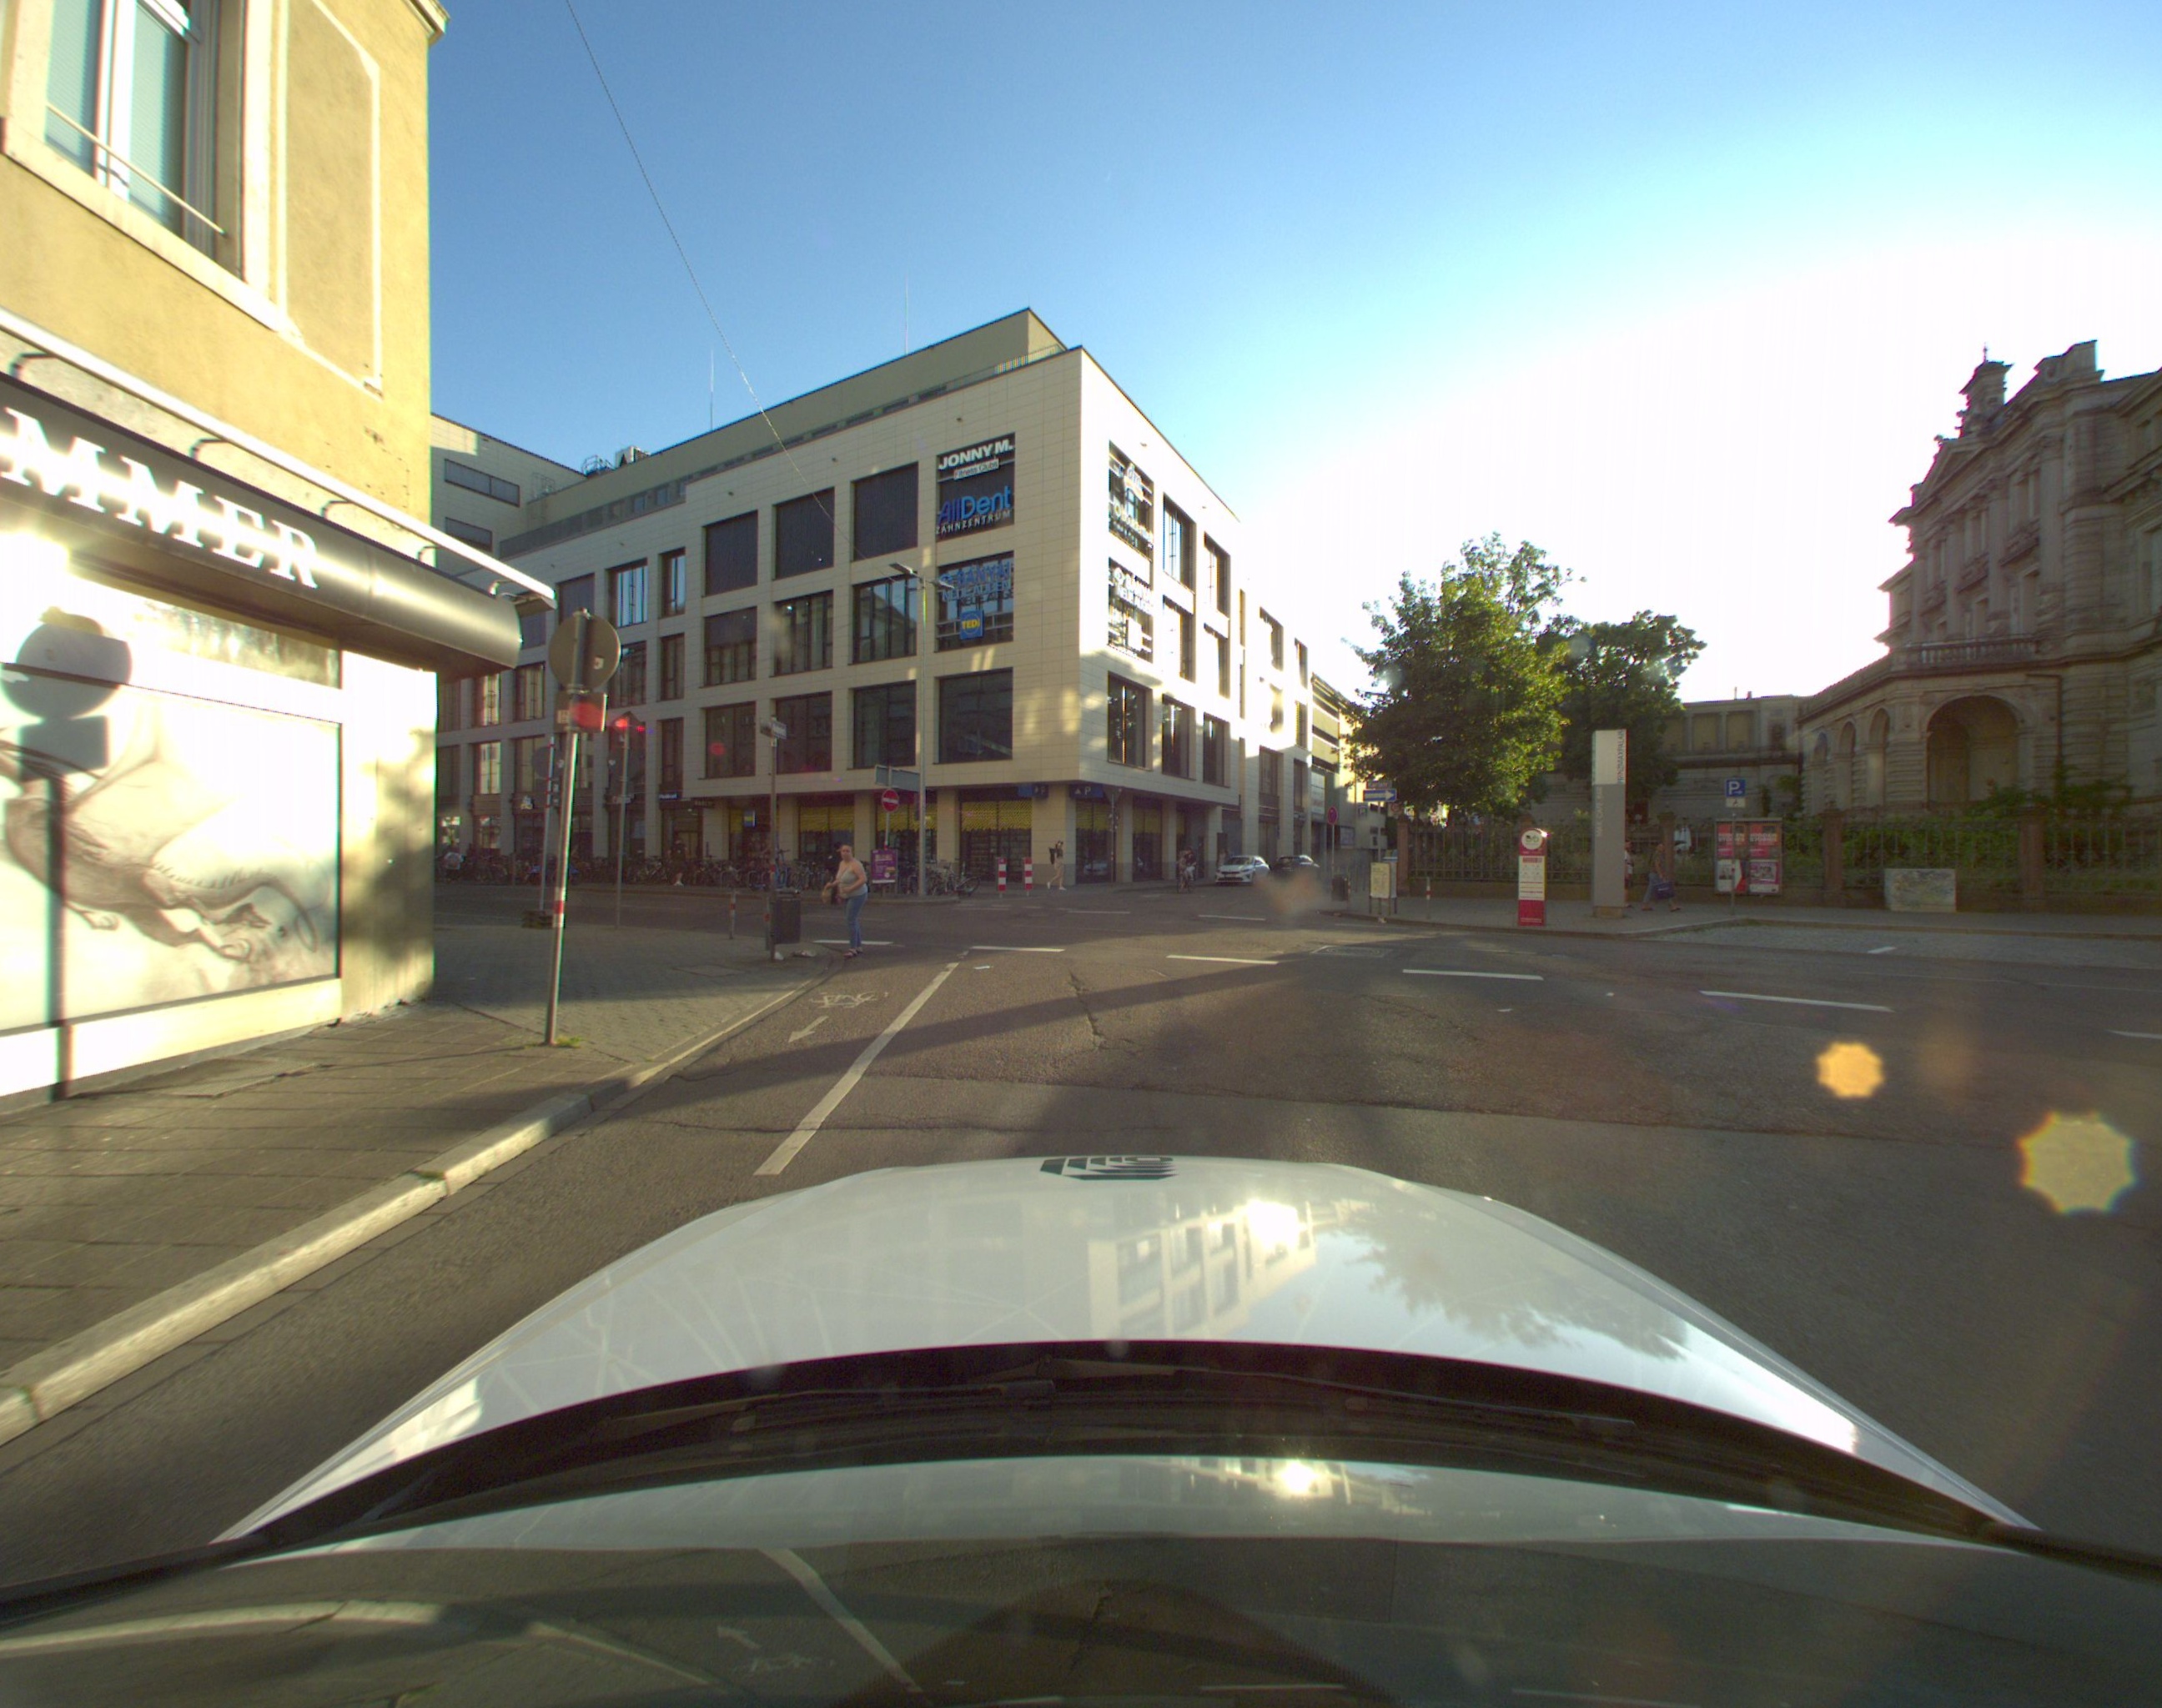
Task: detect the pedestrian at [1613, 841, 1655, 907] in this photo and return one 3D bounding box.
[{"bbox_3d":[14.135,0.496,20.831,0.698,1.670,0.645,1,1,16],"label":"pedestrian"}]

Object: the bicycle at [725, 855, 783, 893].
[{"bbox_3d":[-11.256,0.677,28.099,0.507,1.255,1.991,1,-1,28],"label":"bicycle"}]

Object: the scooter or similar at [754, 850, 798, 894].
[{"bbox_3d":[-9.018,0.528,24.122,0.383,1.260,1.278,1,-1,28],"label":"scooter or similar"}]

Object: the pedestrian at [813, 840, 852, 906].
[{"bbox_3d":[-6.356,0.475,20.845,0.870,1.658,0.616,1,0,-14],"label":"pedestrian"}]

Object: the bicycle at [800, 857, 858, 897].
[{"bbox_3d":[-8.124,0.731,26.368,0.507,1.255,1.991,1,-1,28],"label":"bicycle"}]

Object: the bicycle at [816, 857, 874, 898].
[{"bbox_3d":[-7.514,0.741,26.007,0.507,1.255,1.991,1,-1,28],"label":"bicycle"}]

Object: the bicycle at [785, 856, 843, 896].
[{"bbox_3d":[-8.749,0.720,26.799,0.507,1.255,1.991,1,-1,28],"label":"bicycle"}]

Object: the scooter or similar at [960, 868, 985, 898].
[{"bbox_3d":[-3.390,0.897,25.413,0.383,0.884,0.774,1,-1,28],"label":"scooter or similar"}]

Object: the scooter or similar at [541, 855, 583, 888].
[{"bbox_3d":[-19.732,0.662,30.989,0.383,1.242,1.278,1,-1,28],"label":"scooter or similar"}]

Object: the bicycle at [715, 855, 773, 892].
[{"bbox_3d":[-11.774,0.669,28.524,0.507,1.255,1.991,1,-1,28],"label":"bicycle"}]

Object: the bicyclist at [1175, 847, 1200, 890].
[{"bbox_3d":[4.010,0.553,30.562,0.652,1.570,0.868,1,-1,26],"label":"bicyclist"}]

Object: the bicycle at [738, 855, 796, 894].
[{"bbox_3d":[-10.707,0.687,27.853,0.507,1.255,1.991,1,-1,28],"label":"bicycle"}]

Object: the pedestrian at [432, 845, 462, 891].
[{"bbox_3d":[-24.272,0.529,31.204,0.636,1.695,0.688,1,0,28],"label":"pedestrian"}]

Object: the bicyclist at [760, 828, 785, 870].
[{"bbox_3d":[-12.765,-0.214,33.673,0.636,1.695,0.688,1,0,29],"label":"bicyclist"}]

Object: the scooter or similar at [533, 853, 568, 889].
[{"bbox_3d":[-18.960,0.593,29.098,1.254,1.242,0.519,1,-1,32],"label":"scooter or similar"}]

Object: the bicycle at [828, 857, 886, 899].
[{"bbox_3d":[-7.032,0.749,25.712,0.507,1.255,1.991,1,-1,28],"label":"bicycle"}]

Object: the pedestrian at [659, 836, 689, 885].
[{"bbox_3d":[-14.113,0.220,28.263,0.636,1.695,0.688,1,0,32],"label":"pedestrian"}]

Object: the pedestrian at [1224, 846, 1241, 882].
[{"bbox_3d":[7.891,0.508,42.358,0.665,1.836,0.651,1,0,27],"label":"pedestrian"}]

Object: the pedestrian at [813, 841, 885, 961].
[{"bbox_3d":[-3.290,0.634,11.518,0.807,1.613,0.727,1,-1,-31],"label":"pedestrian"}]

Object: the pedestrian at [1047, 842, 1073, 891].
[{"bbox_3d":[-0.752,0.445,29.073,0.639,1.723,0.838,1,0,-26],"label":"pedestrian"}]

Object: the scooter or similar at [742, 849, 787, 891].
[{"bbox_3d":[-9.495,0.484,24.455,0.383,1.212,1.278,1,-1,28],"label":"scooter or similar"}]

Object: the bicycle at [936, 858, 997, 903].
[{"bbox_3d":[-3.319,0.762,23.809,0.658,1.255,2.153,1,-1,26],"label":"bicycle"}]

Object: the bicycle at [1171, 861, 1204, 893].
[{"bbox_3d":[3.995,0.843,30.517,0.658,1.138,1.832,1,-1,26],"label":"bicycle"}]

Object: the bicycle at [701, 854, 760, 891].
[{"bbox_3d":[-12.379,0.658,28.824,0.507,1.255,1.991,1,-1,28],"label":"bicycle"}]

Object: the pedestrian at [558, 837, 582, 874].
[{"bbox_3d":[-23.663,0.053,37.729,0.636,1.695,0.688,1,0,28],"label":"pedestrian"}]

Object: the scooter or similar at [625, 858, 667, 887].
[{"bbox_3d":[-15.051,0.631,28.210,0.383,0.992,1.278,1,-1,28],"label":"scooter or similar"}]

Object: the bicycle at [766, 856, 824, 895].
[{"bbox_3d":[-9.507,0.707,27.134,0.507,1.255,1.990,1,-1,26],"label":"bicycle"}]

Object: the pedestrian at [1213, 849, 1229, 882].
[{"bbox_3d":[7.323,0.608,42.645,0.665,1.675,0.651,1,0,27],"label":"pedestrian"}]

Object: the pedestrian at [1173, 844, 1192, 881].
[{"bbox_3d":[4.780,0.398,38.237,0.665,1.744,0.651,0,0,29],"label":"pedestrian"}]

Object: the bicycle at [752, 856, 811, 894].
[{"bbox_3d":[-10.062,0.697,27.420,0.507,1.255,1.991,1,-1,28],"label":"bicycle"}]

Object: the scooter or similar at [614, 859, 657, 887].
[{"bbox_3d":[-15.615,0.662,28.574,0.383,0.942,1.278,1,-1,28],"label":"scooter or similar"}]

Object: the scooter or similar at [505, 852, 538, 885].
[{"bbox_3d":[-20.679,0.534,30.109,1.254,1.181,0.519,1,-1,32],"label":"scooter or similar"}]

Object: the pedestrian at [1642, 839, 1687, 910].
[{"bbox_3d":[14.203,0.484,19.848,0.698,1.670,0.645,1,1,16],"label":"pedestrian"}]
